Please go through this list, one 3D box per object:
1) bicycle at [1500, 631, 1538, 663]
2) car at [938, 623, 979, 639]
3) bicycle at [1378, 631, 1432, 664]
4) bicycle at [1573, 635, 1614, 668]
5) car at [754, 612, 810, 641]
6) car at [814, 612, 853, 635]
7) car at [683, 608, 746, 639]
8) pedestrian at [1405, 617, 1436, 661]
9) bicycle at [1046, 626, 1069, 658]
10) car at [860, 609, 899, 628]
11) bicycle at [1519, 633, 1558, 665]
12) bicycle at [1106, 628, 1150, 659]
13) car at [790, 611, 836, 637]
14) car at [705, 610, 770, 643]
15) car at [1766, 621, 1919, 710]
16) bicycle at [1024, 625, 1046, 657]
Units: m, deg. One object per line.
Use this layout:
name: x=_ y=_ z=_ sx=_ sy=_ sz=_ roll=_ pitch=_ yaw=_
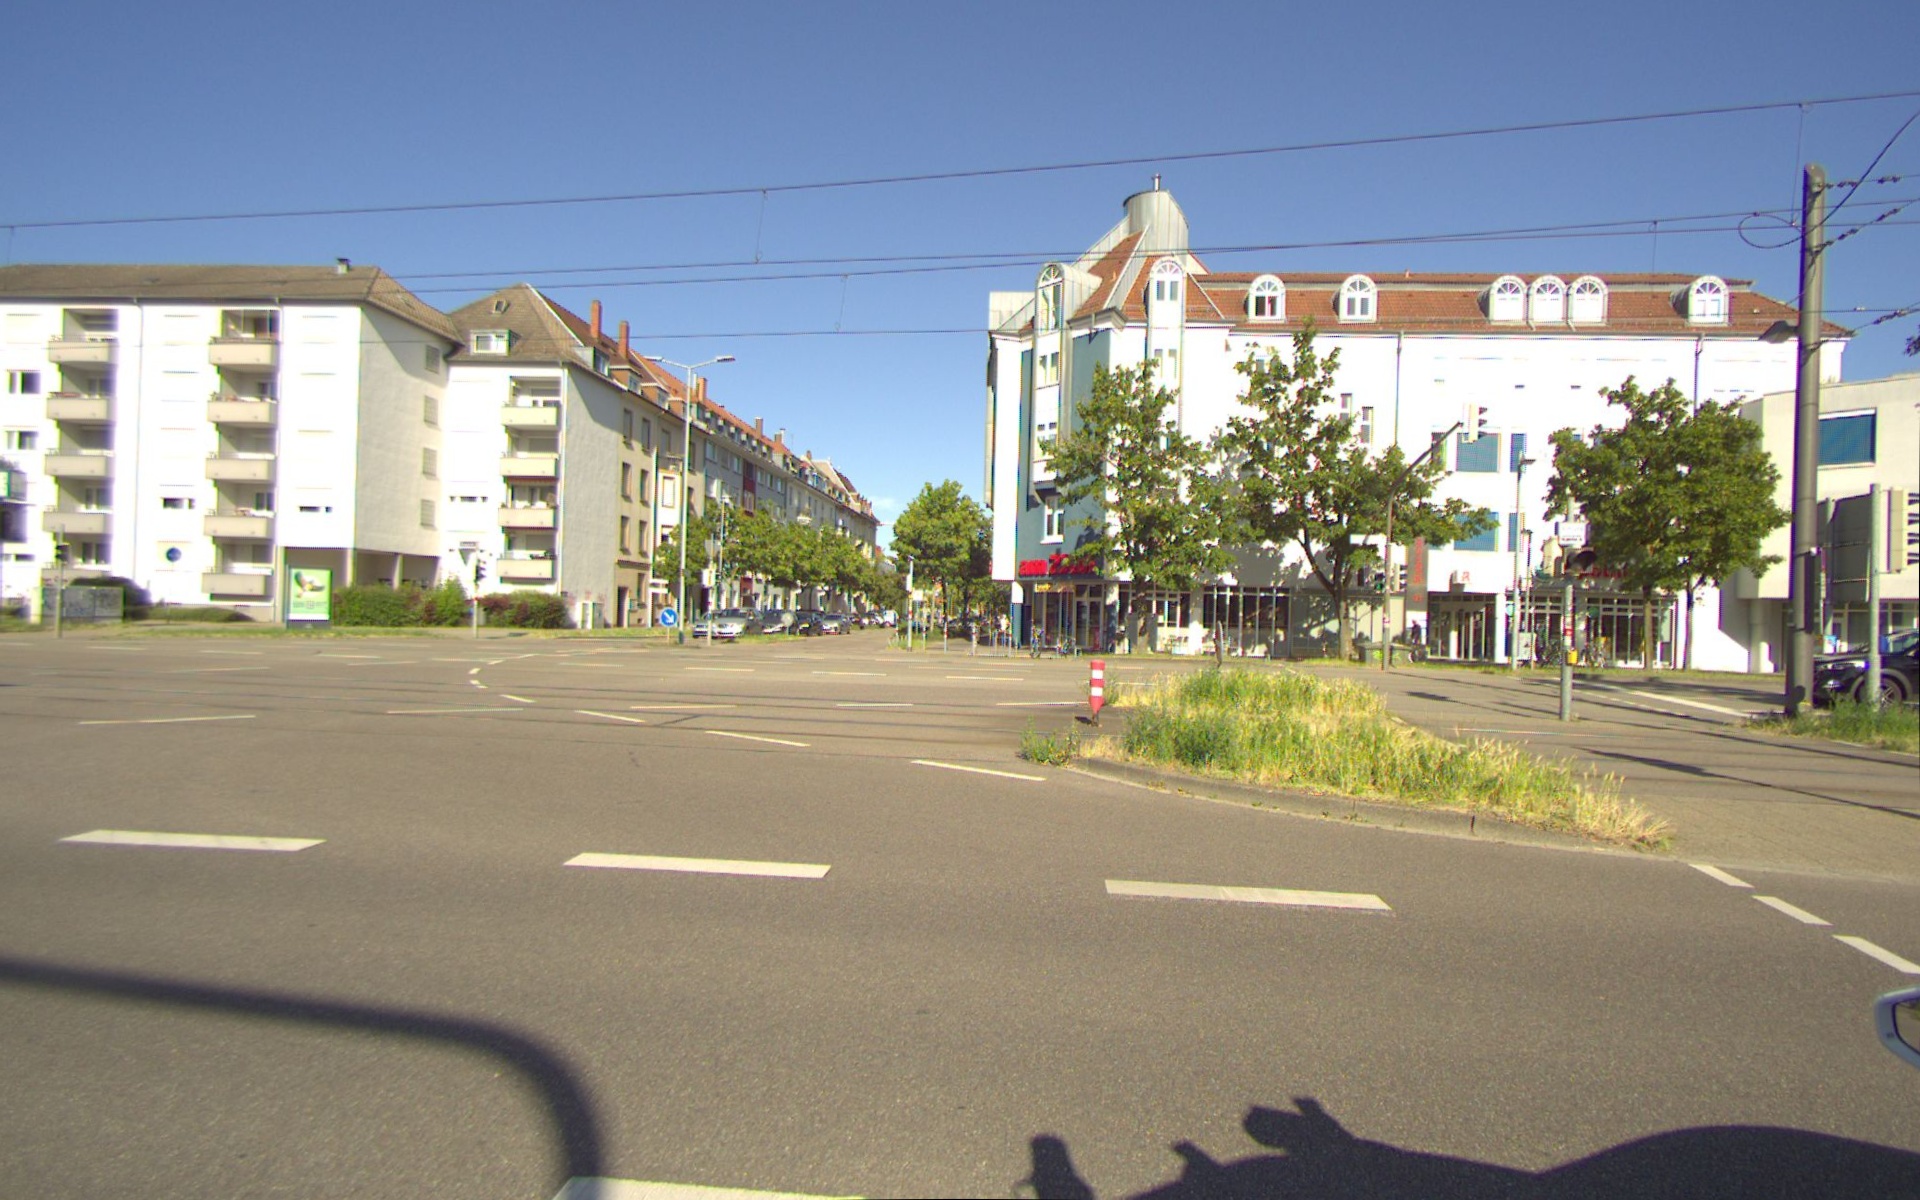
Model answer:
bicycle: x=22.011 y=1.849 z=39.575 sx=0.551 sy=1.198 sz=1.870 roll=1 pitch=-1 yaw=3
car: x=-0.118 y=2.673 z=87.391 sx=3.507 sy=1.239 sz=1.732 roll=2 pitch=-2 yaw=3
bicycle: x=17.189 y=1.827 z=38.832 sx=1.833 sy=1.198 sz=0.562 roll=1 pitch=-1 yaw=1
bicycle: x=24.715 y=1.989 z=39.221 sx=0.551 sy=1.198 sz=1.871 roll=1 pitch=-1 yaw=6
car: x=-9.897 y=1.502 z=56.089 sx=1.659 sy=1.450 sz=4.403 roll=4 pitch=-1 yaw=9
car: x=-8.855 y=1.683 z=70.680 sx=1.659 sy=1.450 sz=4.403 roll=4 pitch=-1 yaw=7
car: x=-12.918 y=1.243 z=53.173 sx=1.659 sy=1.450 sz=4.403 roll=4 pitch=-1 yaw=7
pedestrian: x=18.645 y=1.573 z=40.692 sx=0.973 sy=1.746 sz=0.654 roll=1 pitch=-1 yaw=4
bicycle: x=3.299 y=1.421 z=34.140 sx=0.464 sy=1.041 sz=1.514 roll=1 pitch=-1 yaw=-7
car: x=-9.558 y=2.192 z=119.449 sx=4.430 sy=2.040 sz=2.001 roll=2 pitch=-2 yaw=2
bicycle: x=22.917 y=1.939 z=39.803 sx=0.551 sy=1.198 sz=1.870 roll=1 pitch=-1 yaw=3
bicycle: x=5.967 y=1.524 z=35.645 sx=1.485 sy=1.041 sz=0.473 roll=1 pitch=-1 yaw=16
car: x=-9.097 y=1.520 z=62.496 sx=1.659 sy=1.450 sz=4.403 roll=4 pitch=-1 yaw=7
car: x=-10.945 y=1.330 z=49.732 sx=1.659 sy=1.450 sz=4.403 roll=4 pitch=-1 yaw=8
car: x=18.897 y=1.280 z=19.658 sx=4.424 sy=1.631 sz=2.001 roll=1 pitch=-1 yaw=14
bicycle: x=2.498 y=1.364 z=33.691 sx=0.464 sy=1.041 sz=1.515 roll=1 pitch=-1 yaw=-6
